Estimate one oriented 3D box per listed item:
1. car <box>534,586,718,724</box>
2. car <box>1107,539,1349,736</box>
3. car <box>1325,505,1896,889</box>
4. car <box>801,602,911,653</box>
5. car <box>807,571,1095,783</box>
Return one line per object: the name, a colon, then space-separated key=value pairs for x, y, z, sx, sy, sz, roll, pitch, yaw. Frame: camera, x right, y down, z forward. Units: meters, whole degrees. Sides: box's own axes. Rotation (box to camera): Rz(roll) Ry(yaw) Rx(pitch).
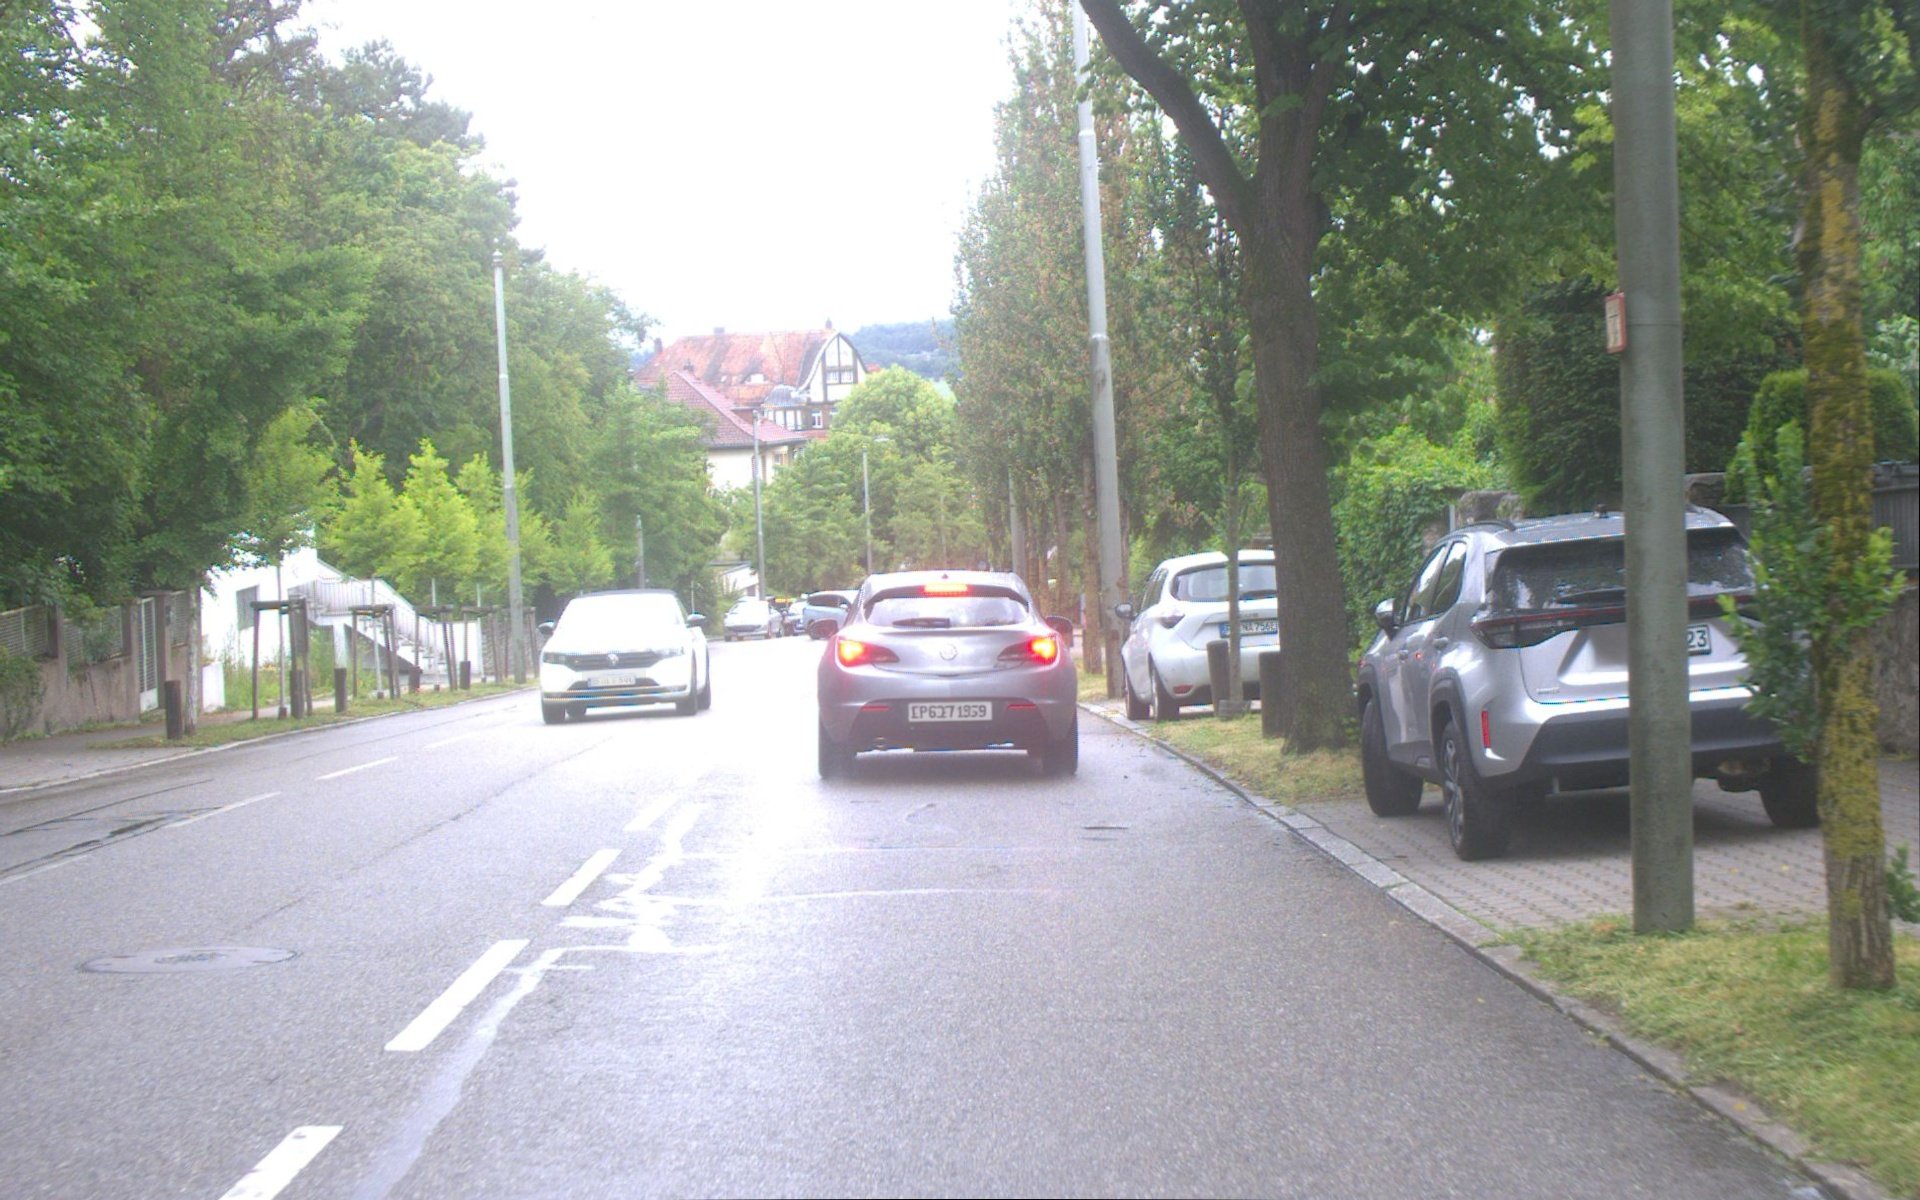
car: x=-3.929 y=0.654 z=41.022 sx=1.793 sy=1.504 sz=4.093 roll=-2 pitch=-1 yaw=-1
car: x=2.482 y=0.317 z=32.760 sx=1.824 sy=1.624 sz=4.000 roll=-5 pitch=1 yaw=-1
car: x=3.092 y=0.381 z=17.256 sx=1.918 sy=1.562 sz=4.220 roll=-4 pitch=1 yaw=-1
car: x=-3.691 y=0.961 z=121.654 sx=1.994 sy=1.678 sz=3.999 roll=0 pitch=1 yaw=-36
car: x=-0.084 y=0.548 z=25.298 sx=1.945 sy=1.427 sz=3.884 roll=0 pitch=-1 yaw=-1
